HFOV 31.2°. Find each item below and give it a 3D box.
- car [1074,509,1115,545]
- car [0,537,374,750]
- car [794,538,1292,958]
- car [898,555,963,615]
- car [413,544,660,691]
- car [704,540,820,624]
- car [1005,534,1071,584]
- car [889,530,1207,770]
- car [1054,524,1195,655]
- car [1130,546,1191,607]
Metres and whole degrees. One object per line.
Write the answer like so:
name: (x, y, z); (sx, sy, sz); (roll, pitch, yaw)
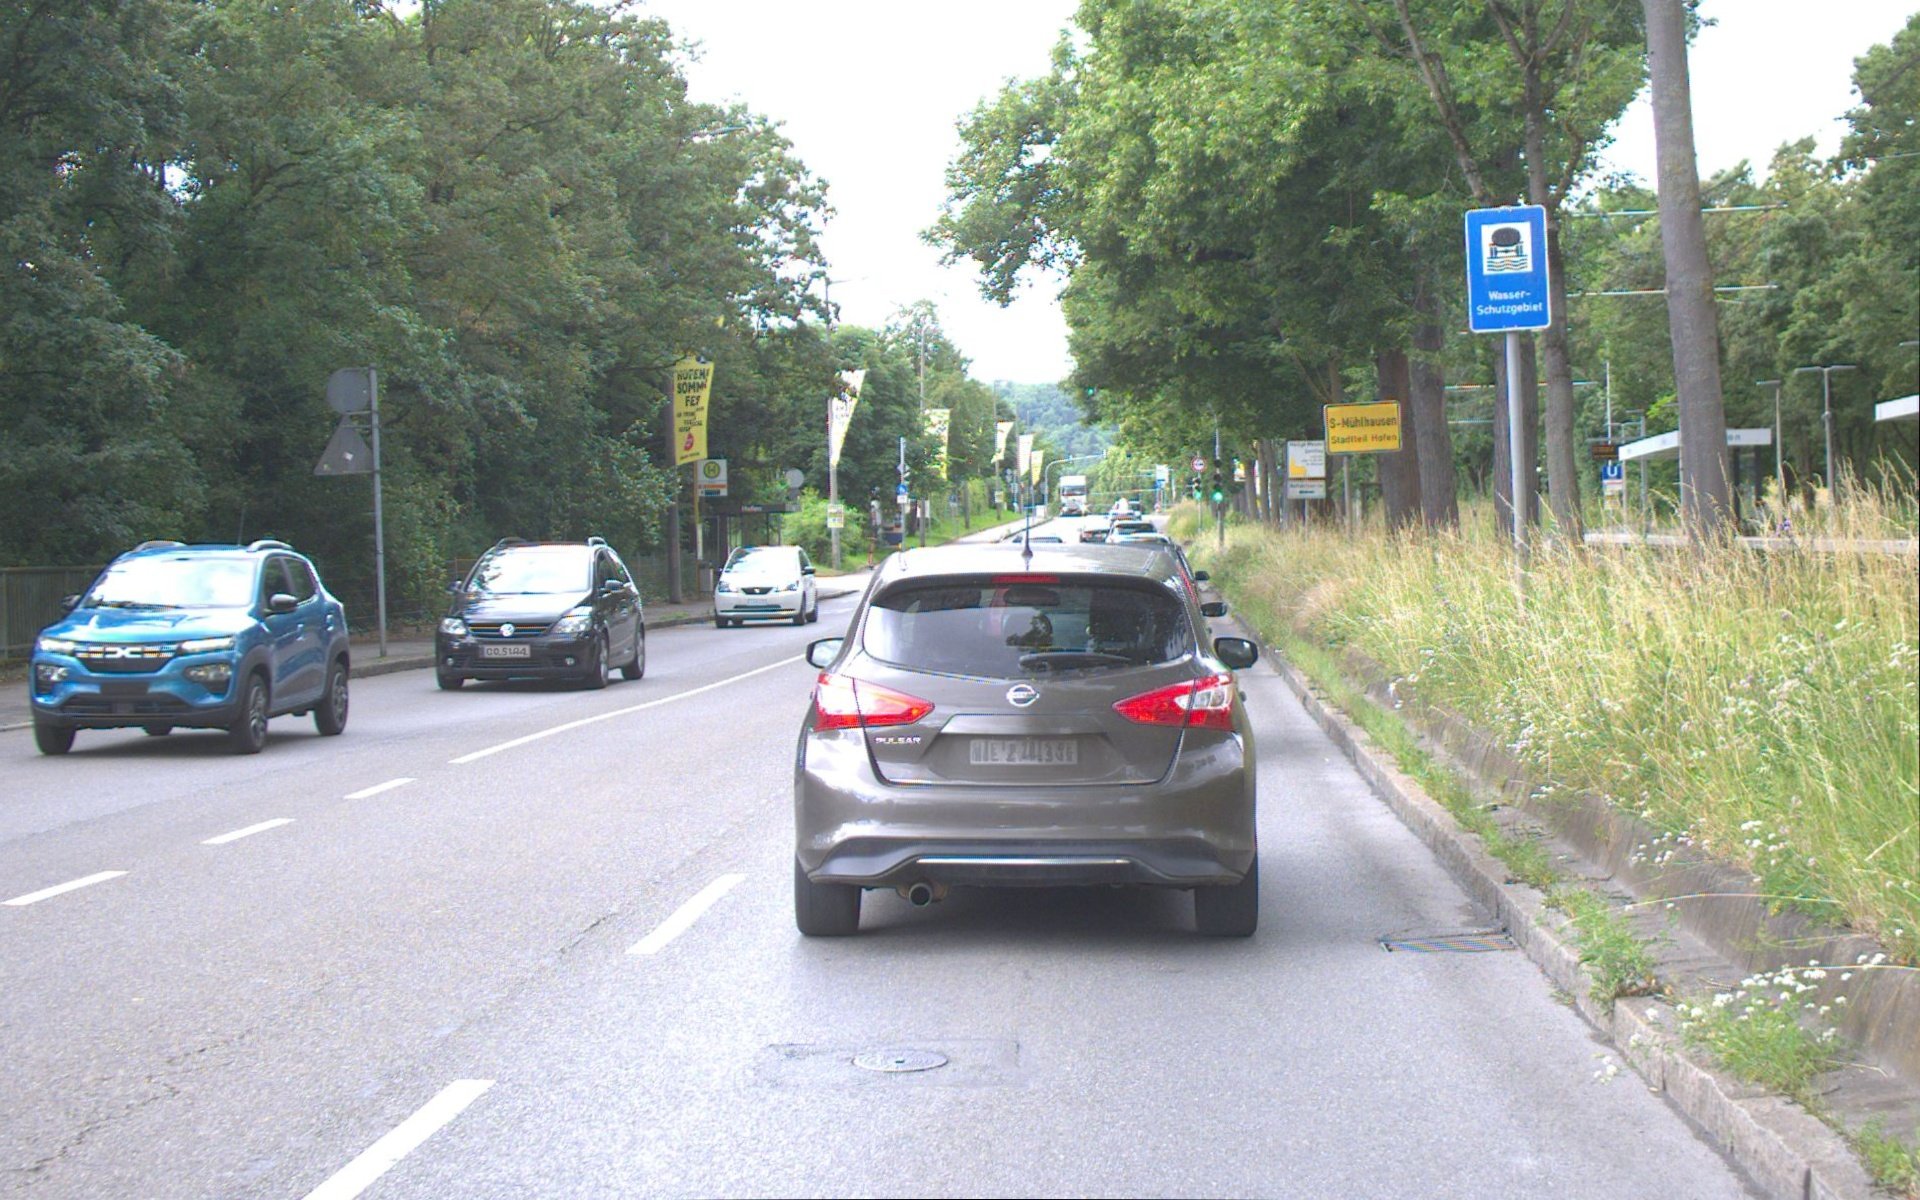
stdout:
car: (5.932, -3.225, 151.522); (1.718, 1.396, 3.725); (-1, -1, 2)
car: (-5.715, 0.340, 25.762); (1.721, 1.437, 3.999); (-1, -1, 4)
car: (0.341, 0.544, 14.394); (1.775, 1.489, 4.000); (1, 0, 1)
car: (-0.864, -0.428, 102.922); (1.718, 1.687, 3.725); (-1, -1, 2)
car: (-4.492, 0.148, 37.014); (1.818, 1.457, 3.999); (-1, 1, 5)
car: (-3.622, -0.308, 63.534); (1.752, 1.415, 3.999); (-1, -1, 2)
car: (2.478, -1.283, 108.814); (1.852, 1.481, 4.420); (-1, 0, 4)
car: (0.537, 0.335, 24.490); (1.892, 1.569, 4.000); (0, 0, -4)
car: (2.027, -0.134, 43.235); (1.578, 1.533, 4.000); (-1, 0, 0)
car: (6.005, -0.679, 103.203); (1.718, 1.687, 3.999); (-1, -1, 2)
